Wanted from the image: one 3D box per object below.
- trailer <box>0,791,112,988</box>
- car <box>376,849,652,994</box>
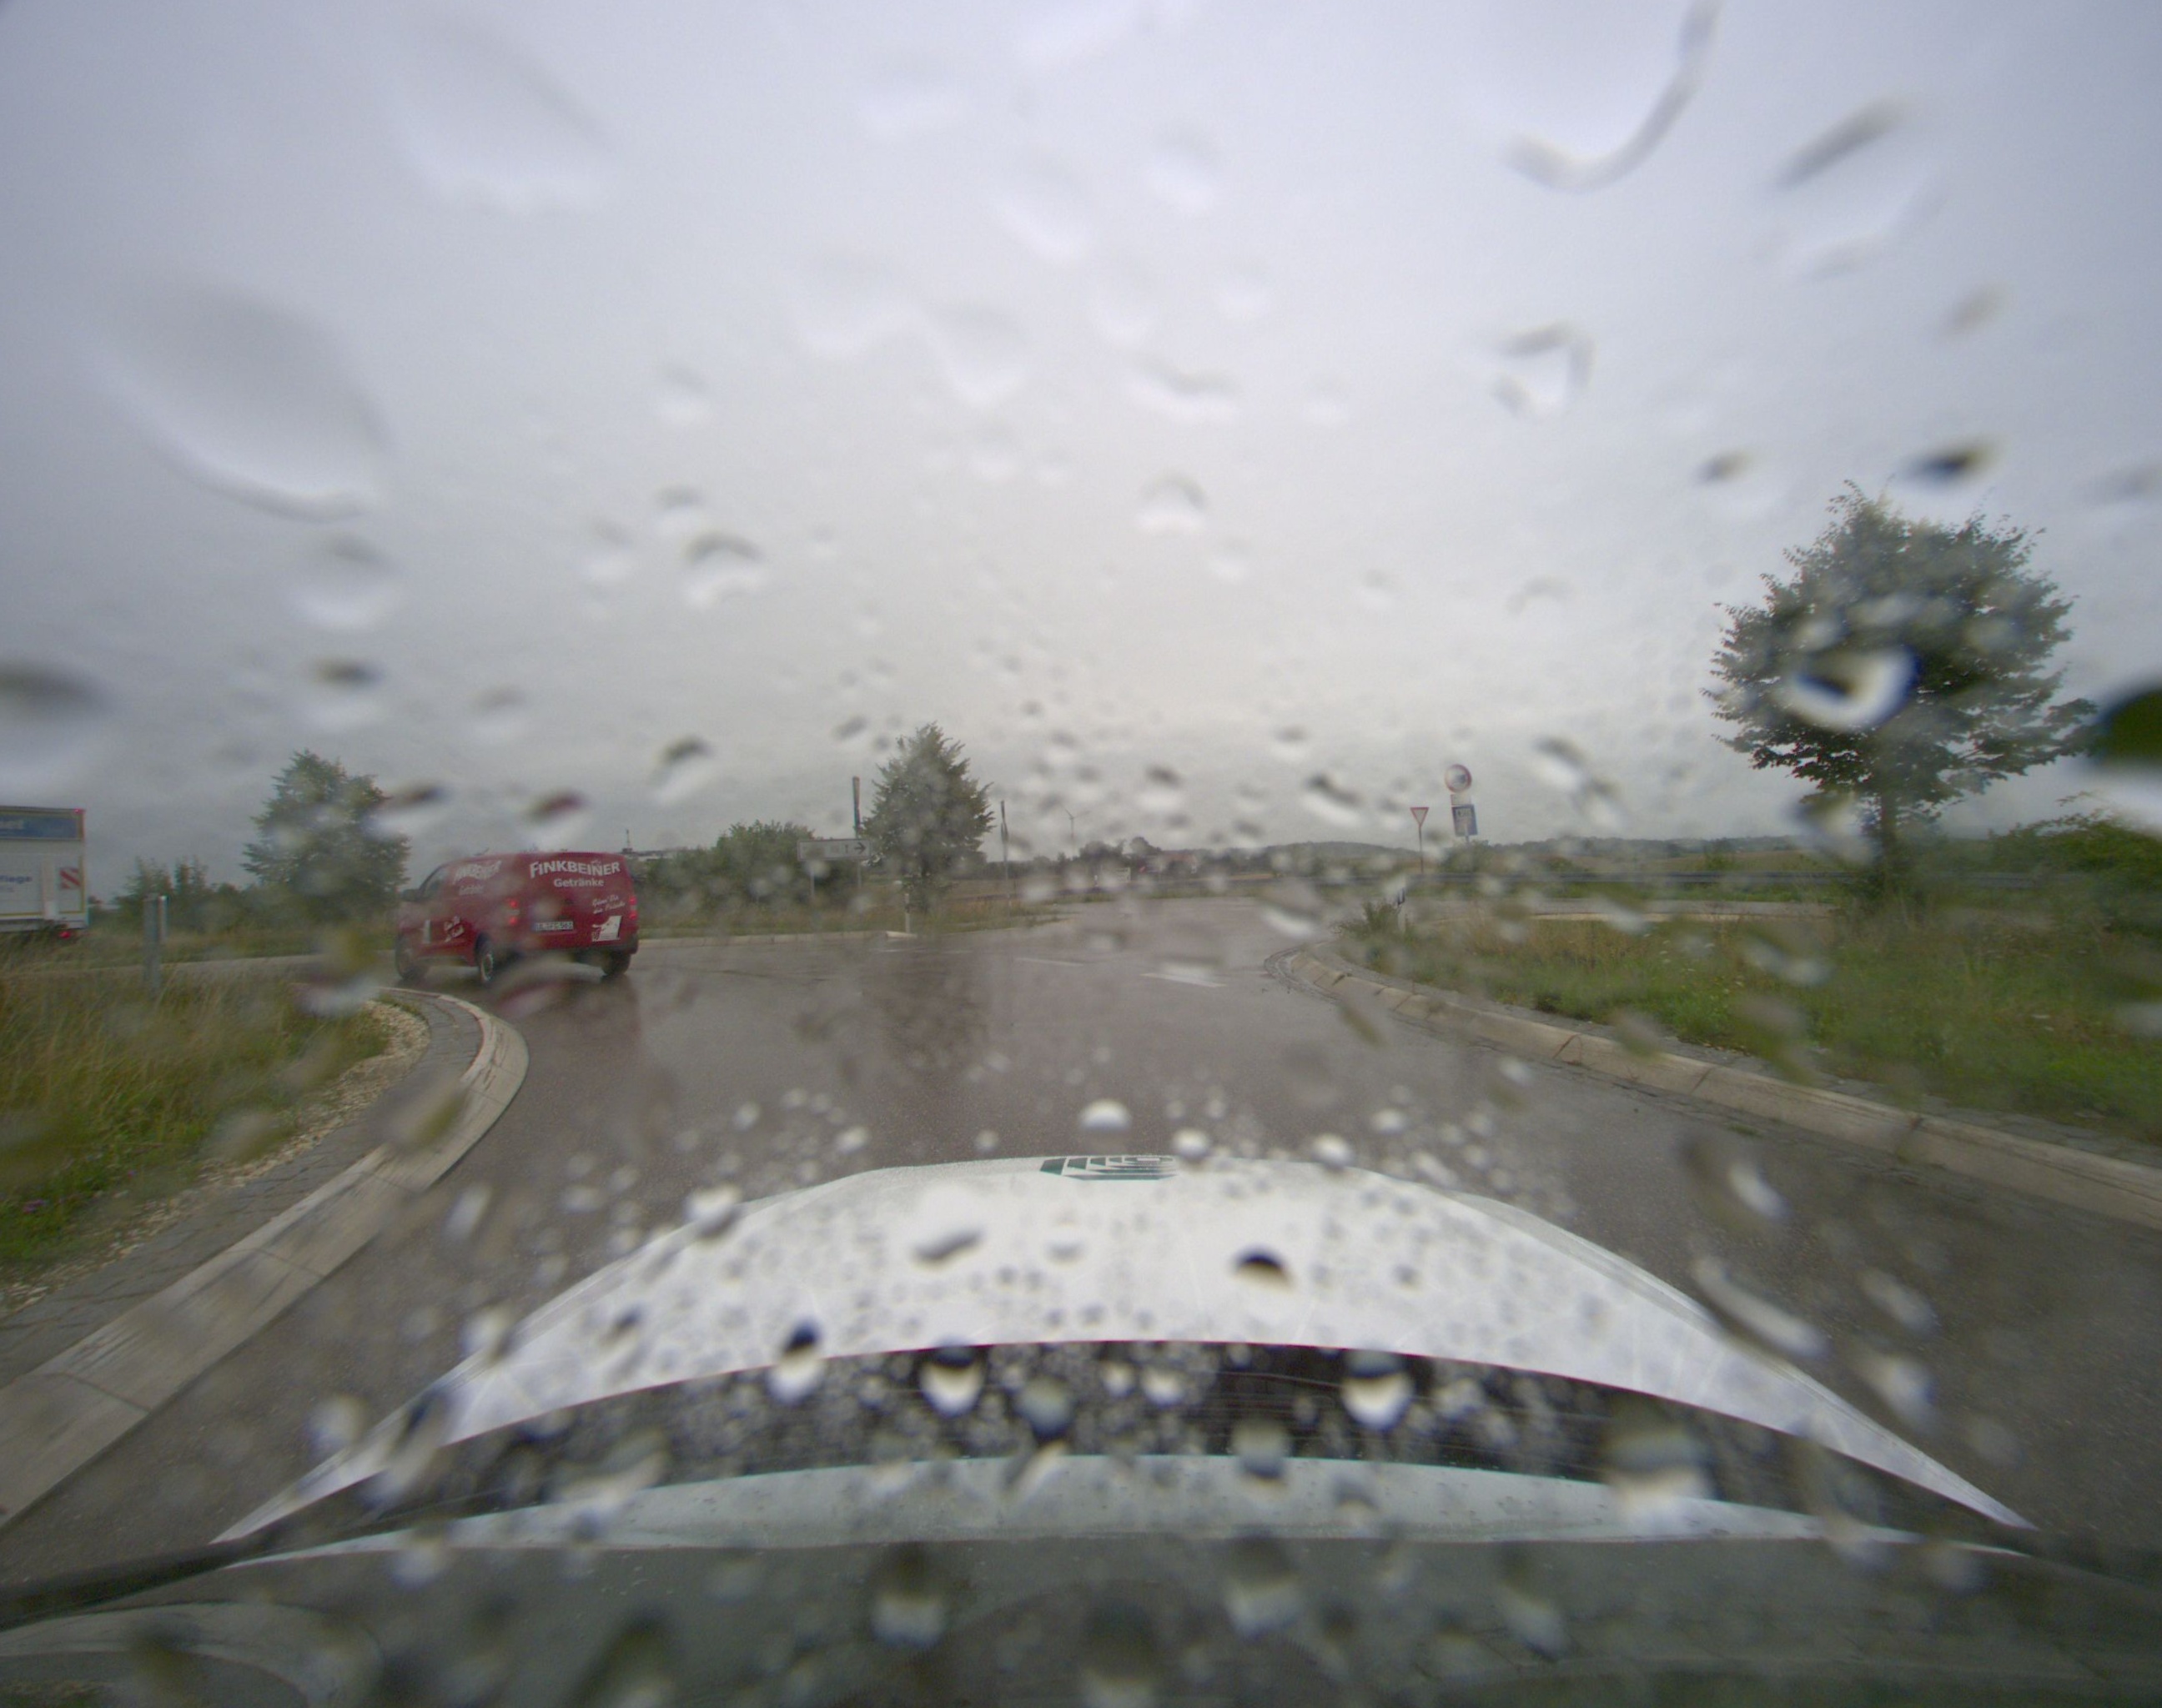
[{"bbox_3d":[-25.608,0.893,17.059,9.612,3.819,2.852,-3,0,14],"label":"trailer"},{"bbox_3d":[-9.162,0.962,13.017,4.914,1.870,2.013,-2,0,35],"label":"car"}]
